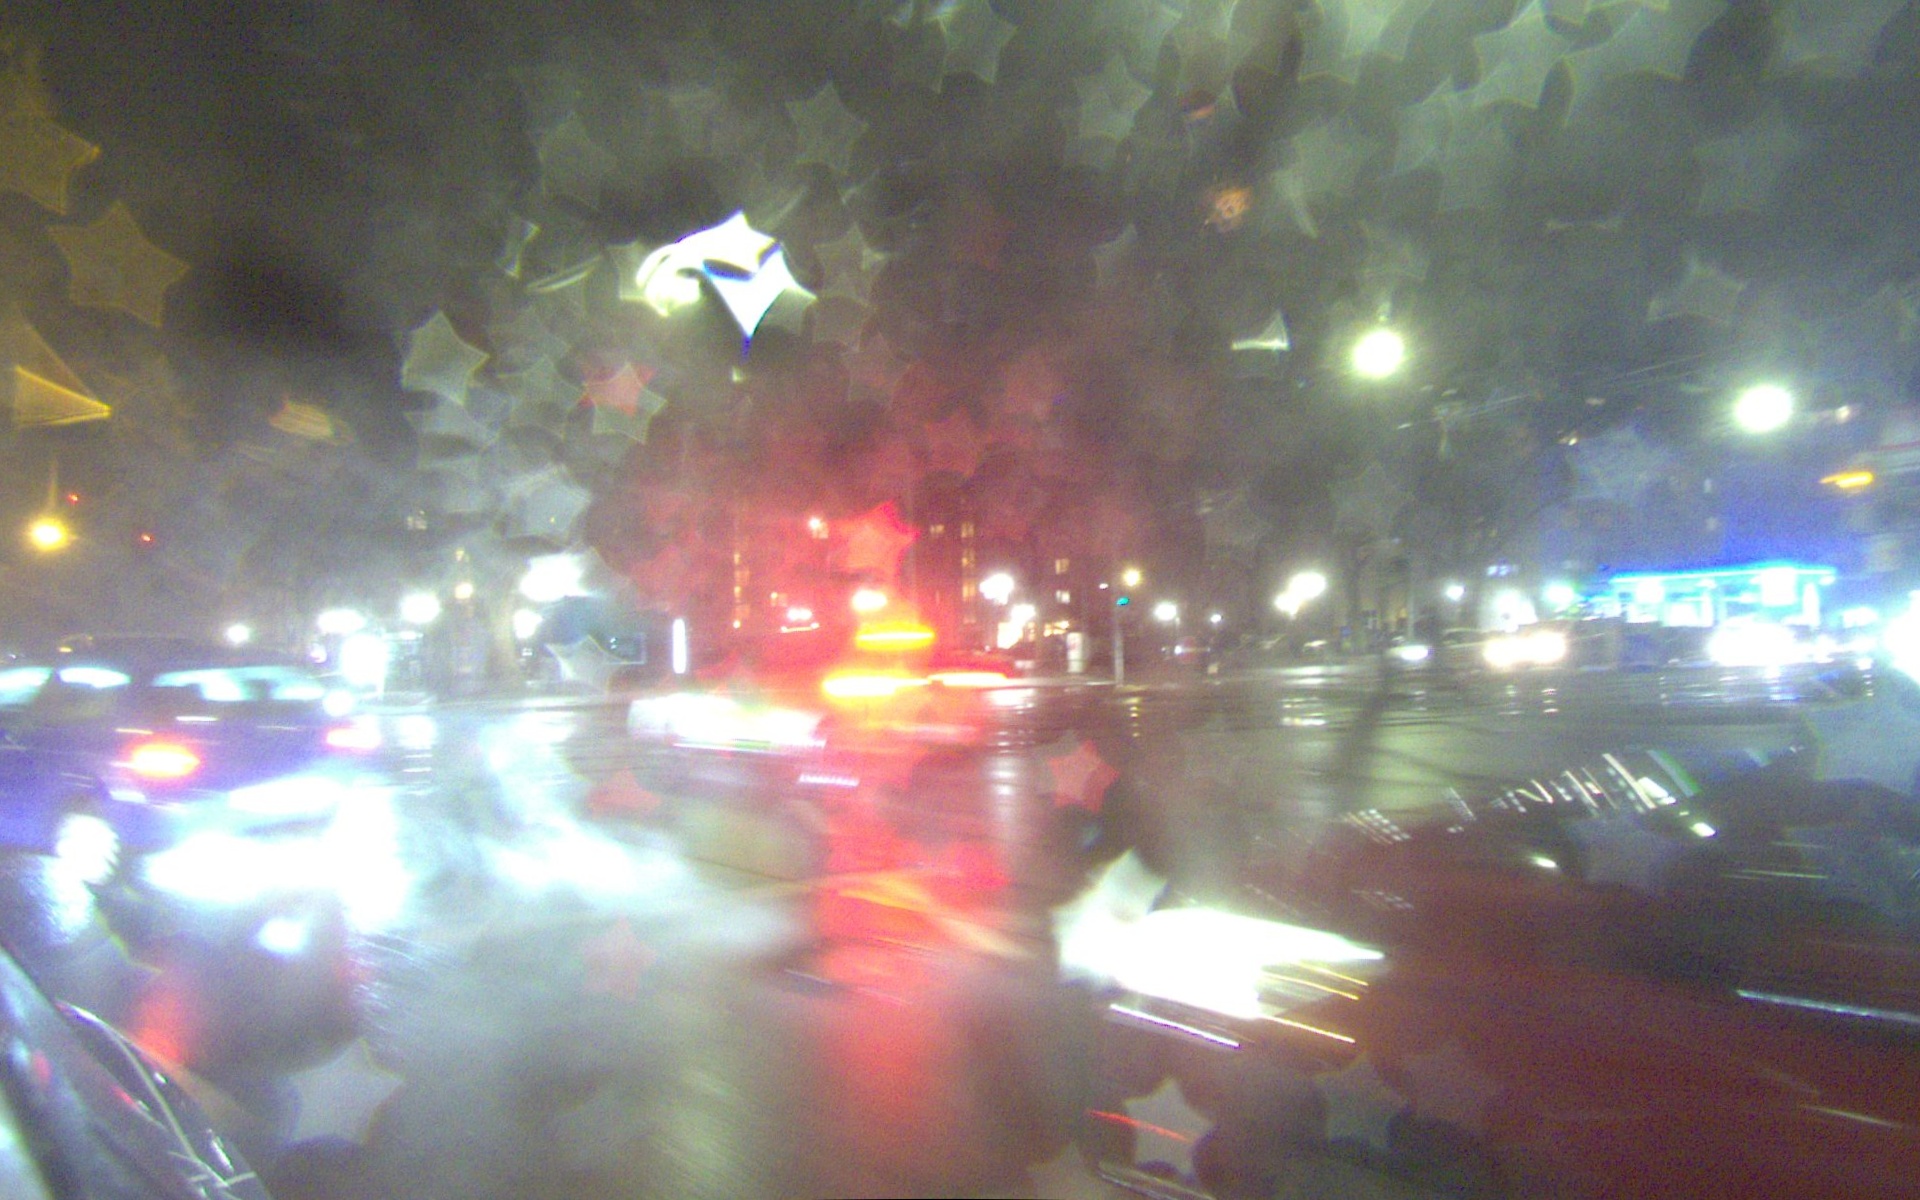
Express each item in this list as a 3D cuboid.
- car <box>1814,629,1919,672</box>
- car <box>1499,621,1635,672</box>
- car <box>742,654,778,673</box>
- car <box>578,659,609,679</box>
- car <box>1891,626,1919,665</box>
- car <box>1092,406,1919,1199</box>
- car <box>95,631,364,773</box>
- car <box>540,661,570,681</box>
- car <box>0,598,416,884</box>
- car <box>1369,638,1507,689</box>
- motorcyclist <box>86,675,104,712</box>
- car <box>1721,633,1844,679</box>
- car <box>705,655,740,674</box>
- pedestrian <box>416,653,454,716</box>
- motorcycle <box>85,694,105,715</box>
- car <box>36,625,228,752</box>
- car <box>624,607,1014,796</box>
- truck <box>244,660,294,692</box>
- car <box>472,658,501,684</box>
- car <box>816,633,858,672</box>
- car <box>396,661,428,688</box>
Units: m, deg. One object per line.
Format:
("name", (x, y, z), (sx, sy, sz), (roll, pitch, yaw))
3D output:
("car", (40.083, 2.218, 44.590), (4.657, 1.756, 1.904), (0, -4, -26))
("car", (22.142, 1.691, 36.903), (4.657, 1.756, 1.904), (0, -4, -26))
("car", (-16.448, 5.200, 83.087), (1.838, 1.454, 4.508), (-1, -3, -26))
("car", (-28.394, 5.321, 78.310), (1.838, 1.454, 4.508), (-1, -3, -26))
("car", (46.356, 2.101, 47.590), (4.657, 1.756, 1.904), (0, -4, -23))
("car", (2.325, 0.520, 1.338), (4.006, 1.574, 1.651), (-4, -4, 42))
("car", (-9.751, 1.265, 13.362), (4.722, 1.554, 1.799), (-4, -4, 40))
("car", (-31.039, 5.428, 77.493), (1.838, 1.454, 4.508), (-1, -3, -26))
("car", (-5.971, 0.885, 7.043), (3.960, 1.554, 1.700), (-3, -3, 21))
("car", (16.270, 2.142, 34.455), (4.258, 1.581, 1.904), (0, -4, -26))
("motorcyclist", (-49.338, 5.321, 57.720), (0.685, 2.029, 0.983), (2, -5, -45))
("car", (34.174, 2.330, 42.062), (4.657, 1.756, 1.904), (0, -4, -23))
("car", (-19.257, 5.249, 81.932), (1.838, 1.454, 4.508), (-1, -3, -26))
("pedestrian", (-15.205, 2.429, 29.331), (0.758, 1.749, 0.972), (-1, -3, -11))
("motorcycle", (-49.288, 5.959, 57.647), (0.693, 1.147, 2.176), (2, -5, -45))
("car", (-14.999, 1.590, 18.217), (5.200, 1.969, 2.011), (-6, -6, 43))
("car", (-1.569, 0.927, 10.102), (4.061, 1.498, 1.743), (-4, -4, 45))
("truck", (-46.930, 5.160, 68.861), (2.093, 2.029, 5.278), (0, -4, -26))
("car", (-34.940, 5.245, 74.641), (1.838, 1.774, 4.508), (0, -3, -26))
("car", (-9.063, 3.887, 74.303), (1.689, 2.752, 4.368), (-1, -3, -25))
("car", (-39.283, 5.292, 72.613), (1.838, 1.808, 4.508), (0, -3, -26))
